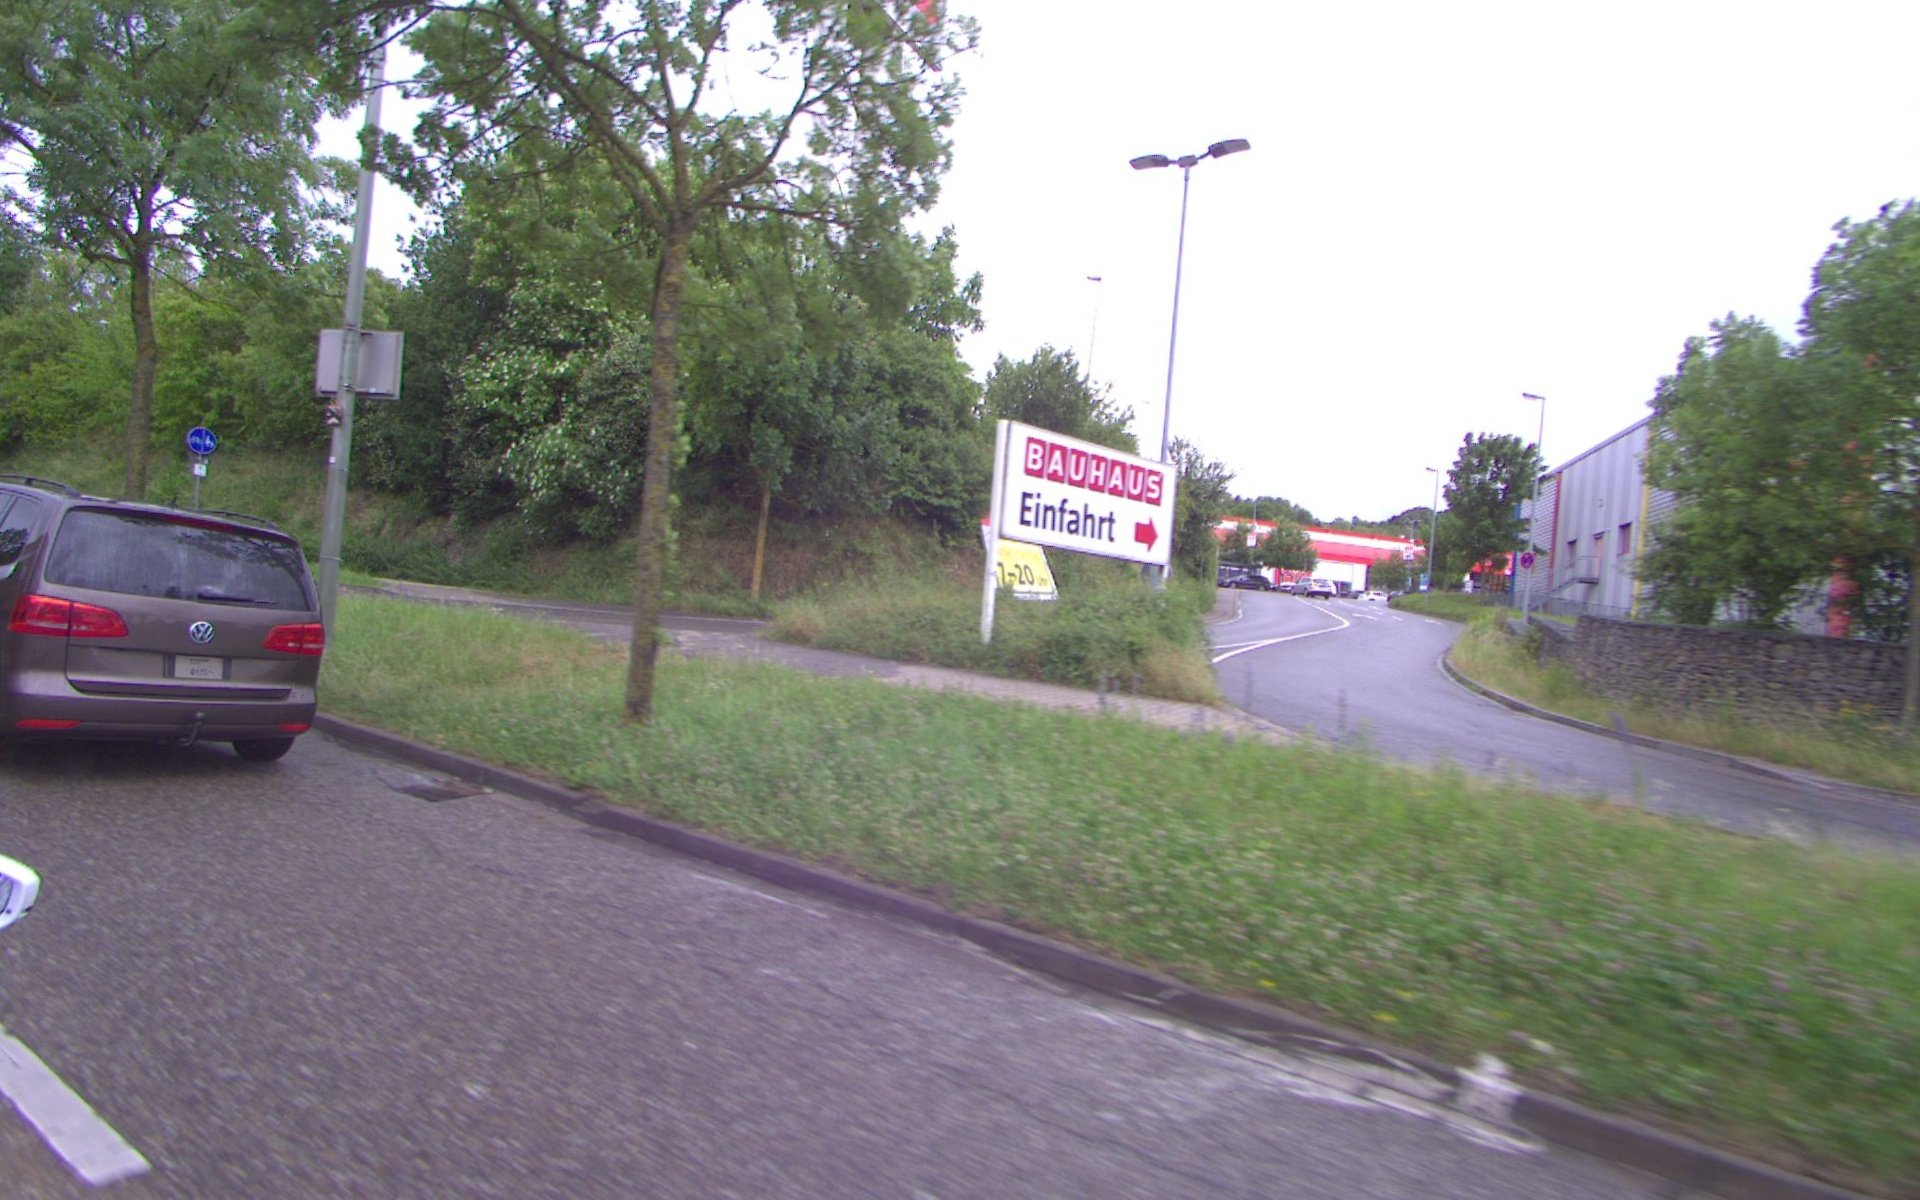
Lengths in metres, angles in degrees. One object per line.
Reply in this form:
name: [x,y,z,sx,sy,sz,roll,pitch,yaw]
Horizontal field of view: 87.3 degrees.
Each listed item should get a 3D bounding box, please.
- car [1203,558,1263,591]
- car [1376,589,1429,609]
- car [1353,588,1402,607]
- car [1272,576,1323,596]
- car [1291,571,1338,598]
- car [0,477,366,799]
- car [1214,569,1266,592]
car: [24.637,-2.298,90.845,4.698,2.501,1.847,5,4,-10]
car: [40.168,-0.104,91.339,3.929,1.540,1.795,3,3,-10]
car: [40.138,-0.268,96.770,3.929,1.540,1.795,3,3,-10]
car: [30.836,-1.268,91.941,3.929,1.540,1.795,3,3,-10]
car: [25.997,-1.167,73.924,1.962,1.639,3.994,4,3,1]
car: [-6.092,0.078,6.771,4.148,1.599,1.689,7,-2,31]
car: [24.684,-1.718,88.659,3.936,1.626,1.844,5,4,-16]
